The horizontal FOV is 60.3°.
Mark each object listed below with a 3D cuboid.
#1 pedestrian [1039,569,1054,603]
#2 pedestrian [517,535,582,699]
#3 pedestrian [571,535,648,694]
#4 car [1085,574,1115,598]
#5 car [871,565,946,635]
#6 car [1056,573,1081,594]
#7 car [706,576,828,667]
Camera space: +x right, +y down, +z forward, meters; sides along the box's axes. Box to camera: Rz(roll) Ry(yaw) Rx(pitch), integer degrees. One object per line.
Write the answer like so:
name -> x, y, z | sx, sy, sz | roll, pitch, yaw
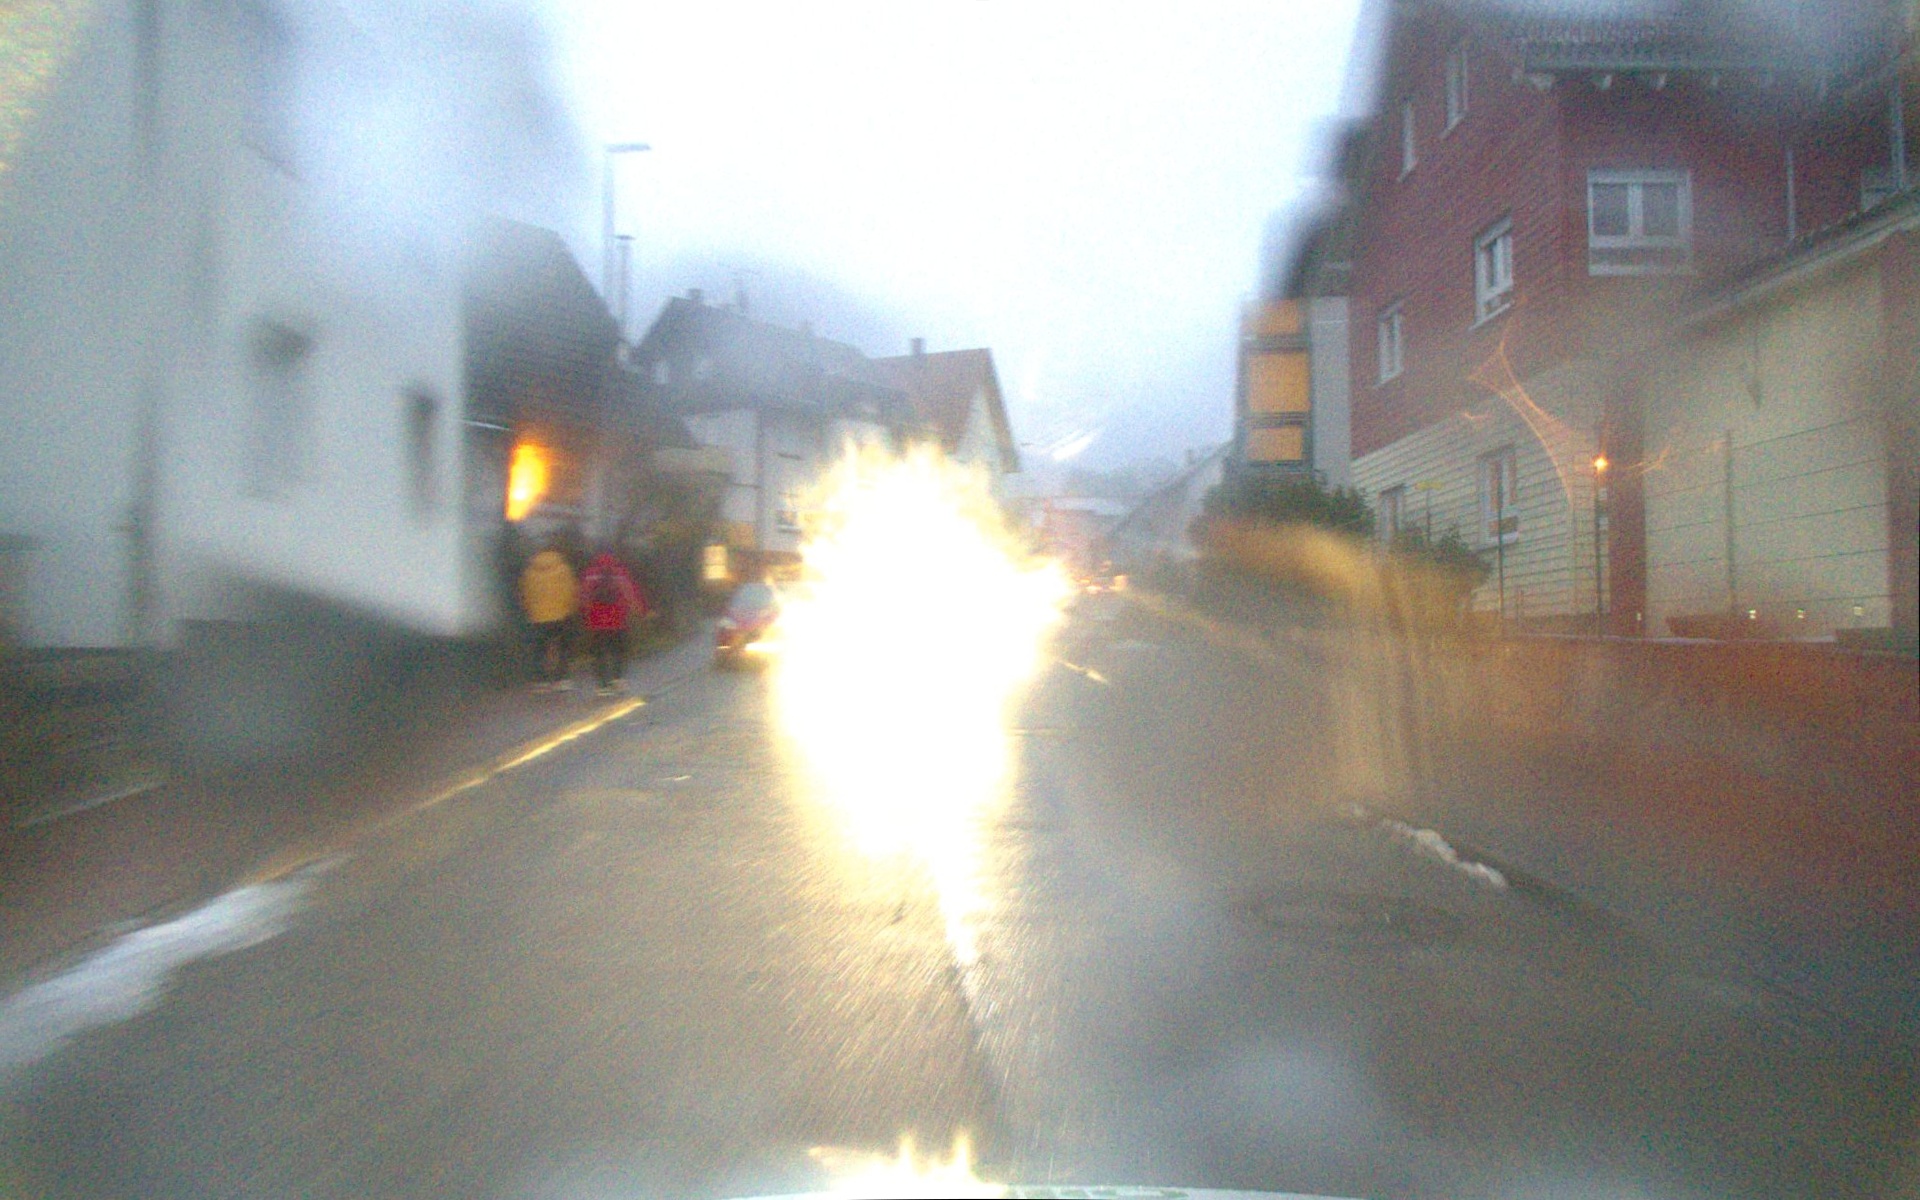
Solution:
pedestrian -> 4.538, -0.710, 86.834 | 0.585, 1.763, 0.812 | 1, -1, 17
pedestrian -> -4.891, 0.201, 19.738 | 0.586, 1.902, 0.811 | 1, -1, -3
pedestrian -> -4.126, 0.166, 19.515 | 0.692, 1.810, 0.812 | 2, -1, -2
car -> 10.458, -1.026, 123.109 | 1.951, 1.646, 4.003 | 2, -1, 8
car -> -1.230, 0.005, 40.404 | 1.722, 1.608, 3.999 | 1, 0, -1
car -> 9.270, -1.414, 141.235 | 1.952, 1.646, 4.001 | 2, -1, 2
car -> -3.303, 0.327, 28.940 | 1.787, 1.466, 4.066 | 1, 1, -2
